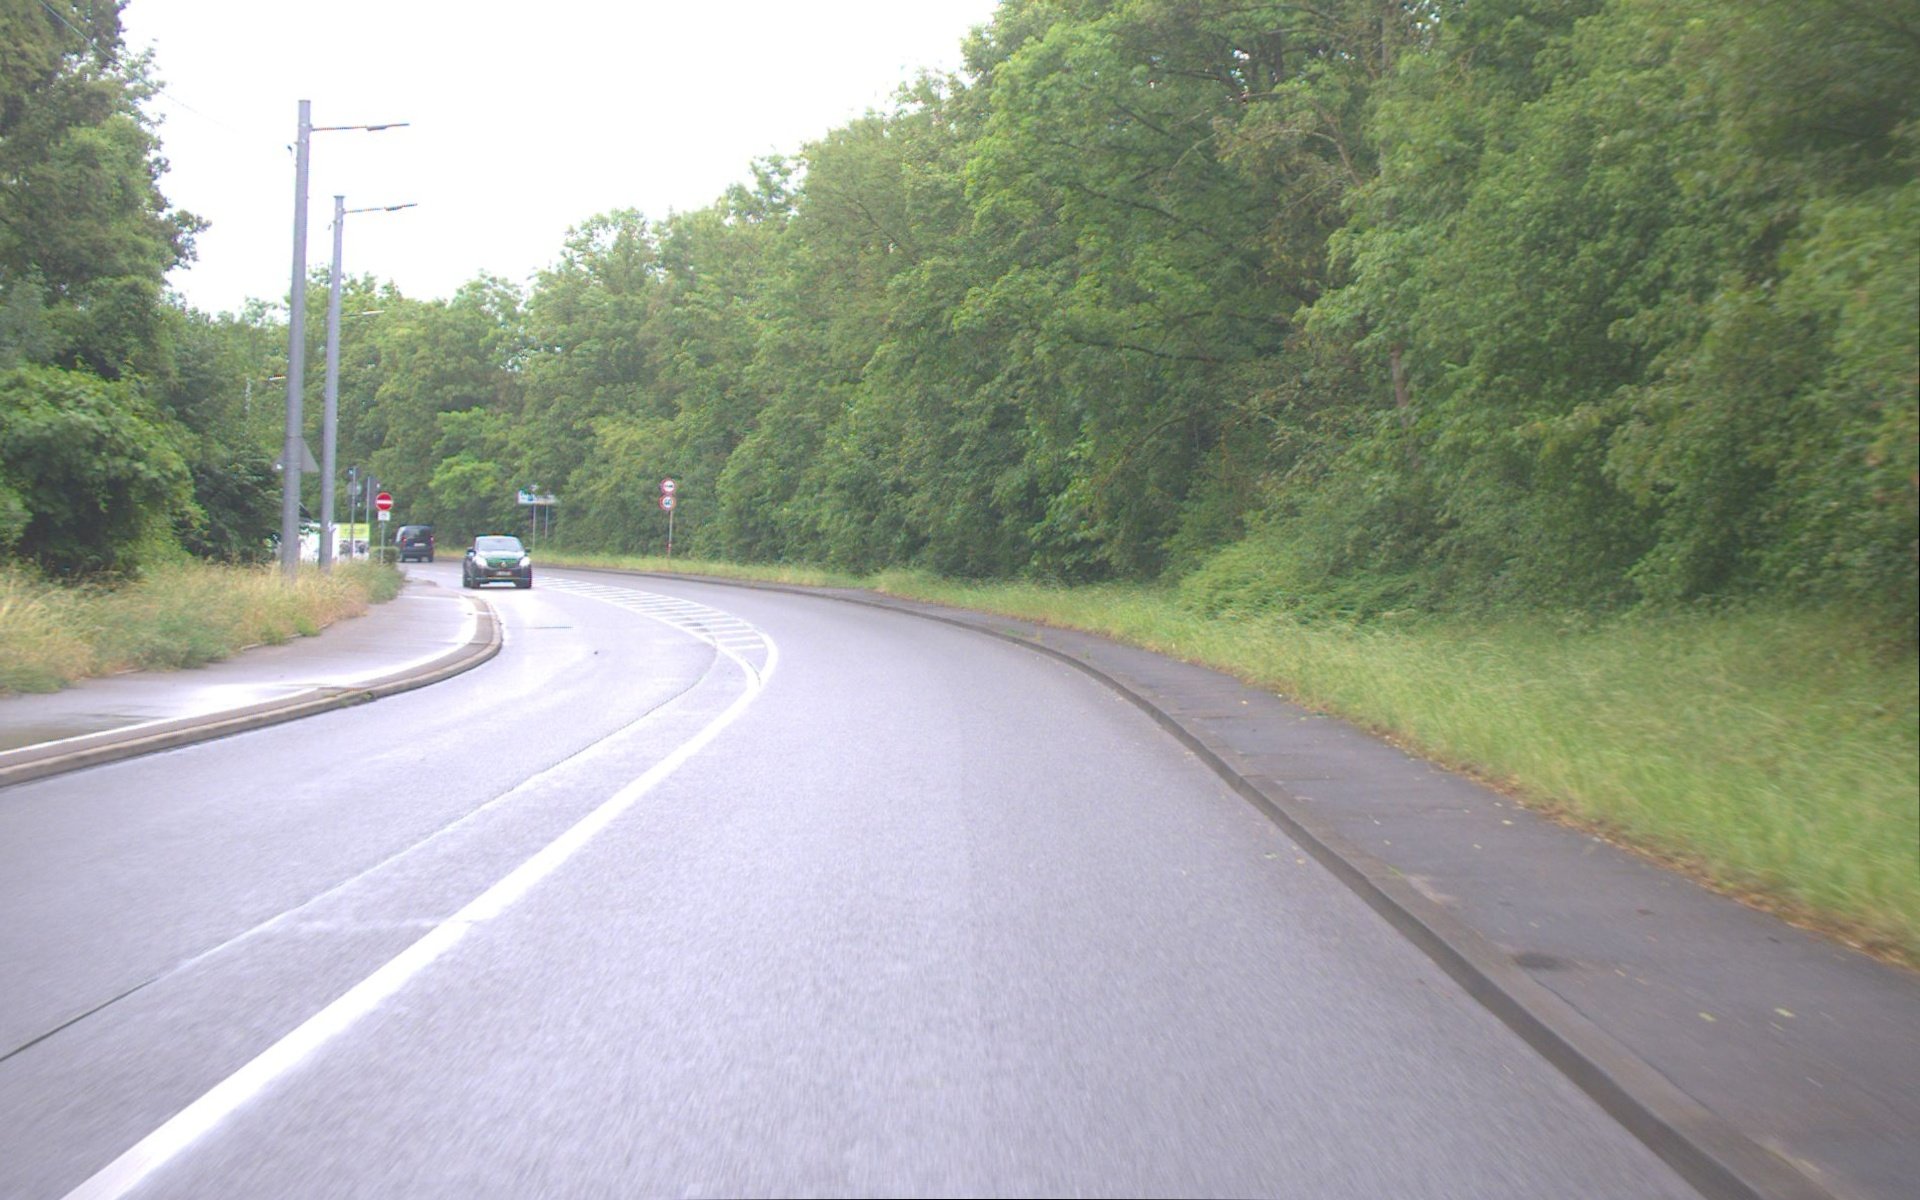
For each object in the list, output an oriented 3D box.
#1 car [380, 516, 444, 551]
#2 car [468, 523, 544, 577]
[{"bbox_3d":[-27.660,-3.358,173.502,1.867,1.590,4.001,2,2,-29],"label":"car"},{"bbox_3d":[-15.210,-1.684,115.067,1.993,1.781,4.709,0,1,-14],"label":"car"}]
